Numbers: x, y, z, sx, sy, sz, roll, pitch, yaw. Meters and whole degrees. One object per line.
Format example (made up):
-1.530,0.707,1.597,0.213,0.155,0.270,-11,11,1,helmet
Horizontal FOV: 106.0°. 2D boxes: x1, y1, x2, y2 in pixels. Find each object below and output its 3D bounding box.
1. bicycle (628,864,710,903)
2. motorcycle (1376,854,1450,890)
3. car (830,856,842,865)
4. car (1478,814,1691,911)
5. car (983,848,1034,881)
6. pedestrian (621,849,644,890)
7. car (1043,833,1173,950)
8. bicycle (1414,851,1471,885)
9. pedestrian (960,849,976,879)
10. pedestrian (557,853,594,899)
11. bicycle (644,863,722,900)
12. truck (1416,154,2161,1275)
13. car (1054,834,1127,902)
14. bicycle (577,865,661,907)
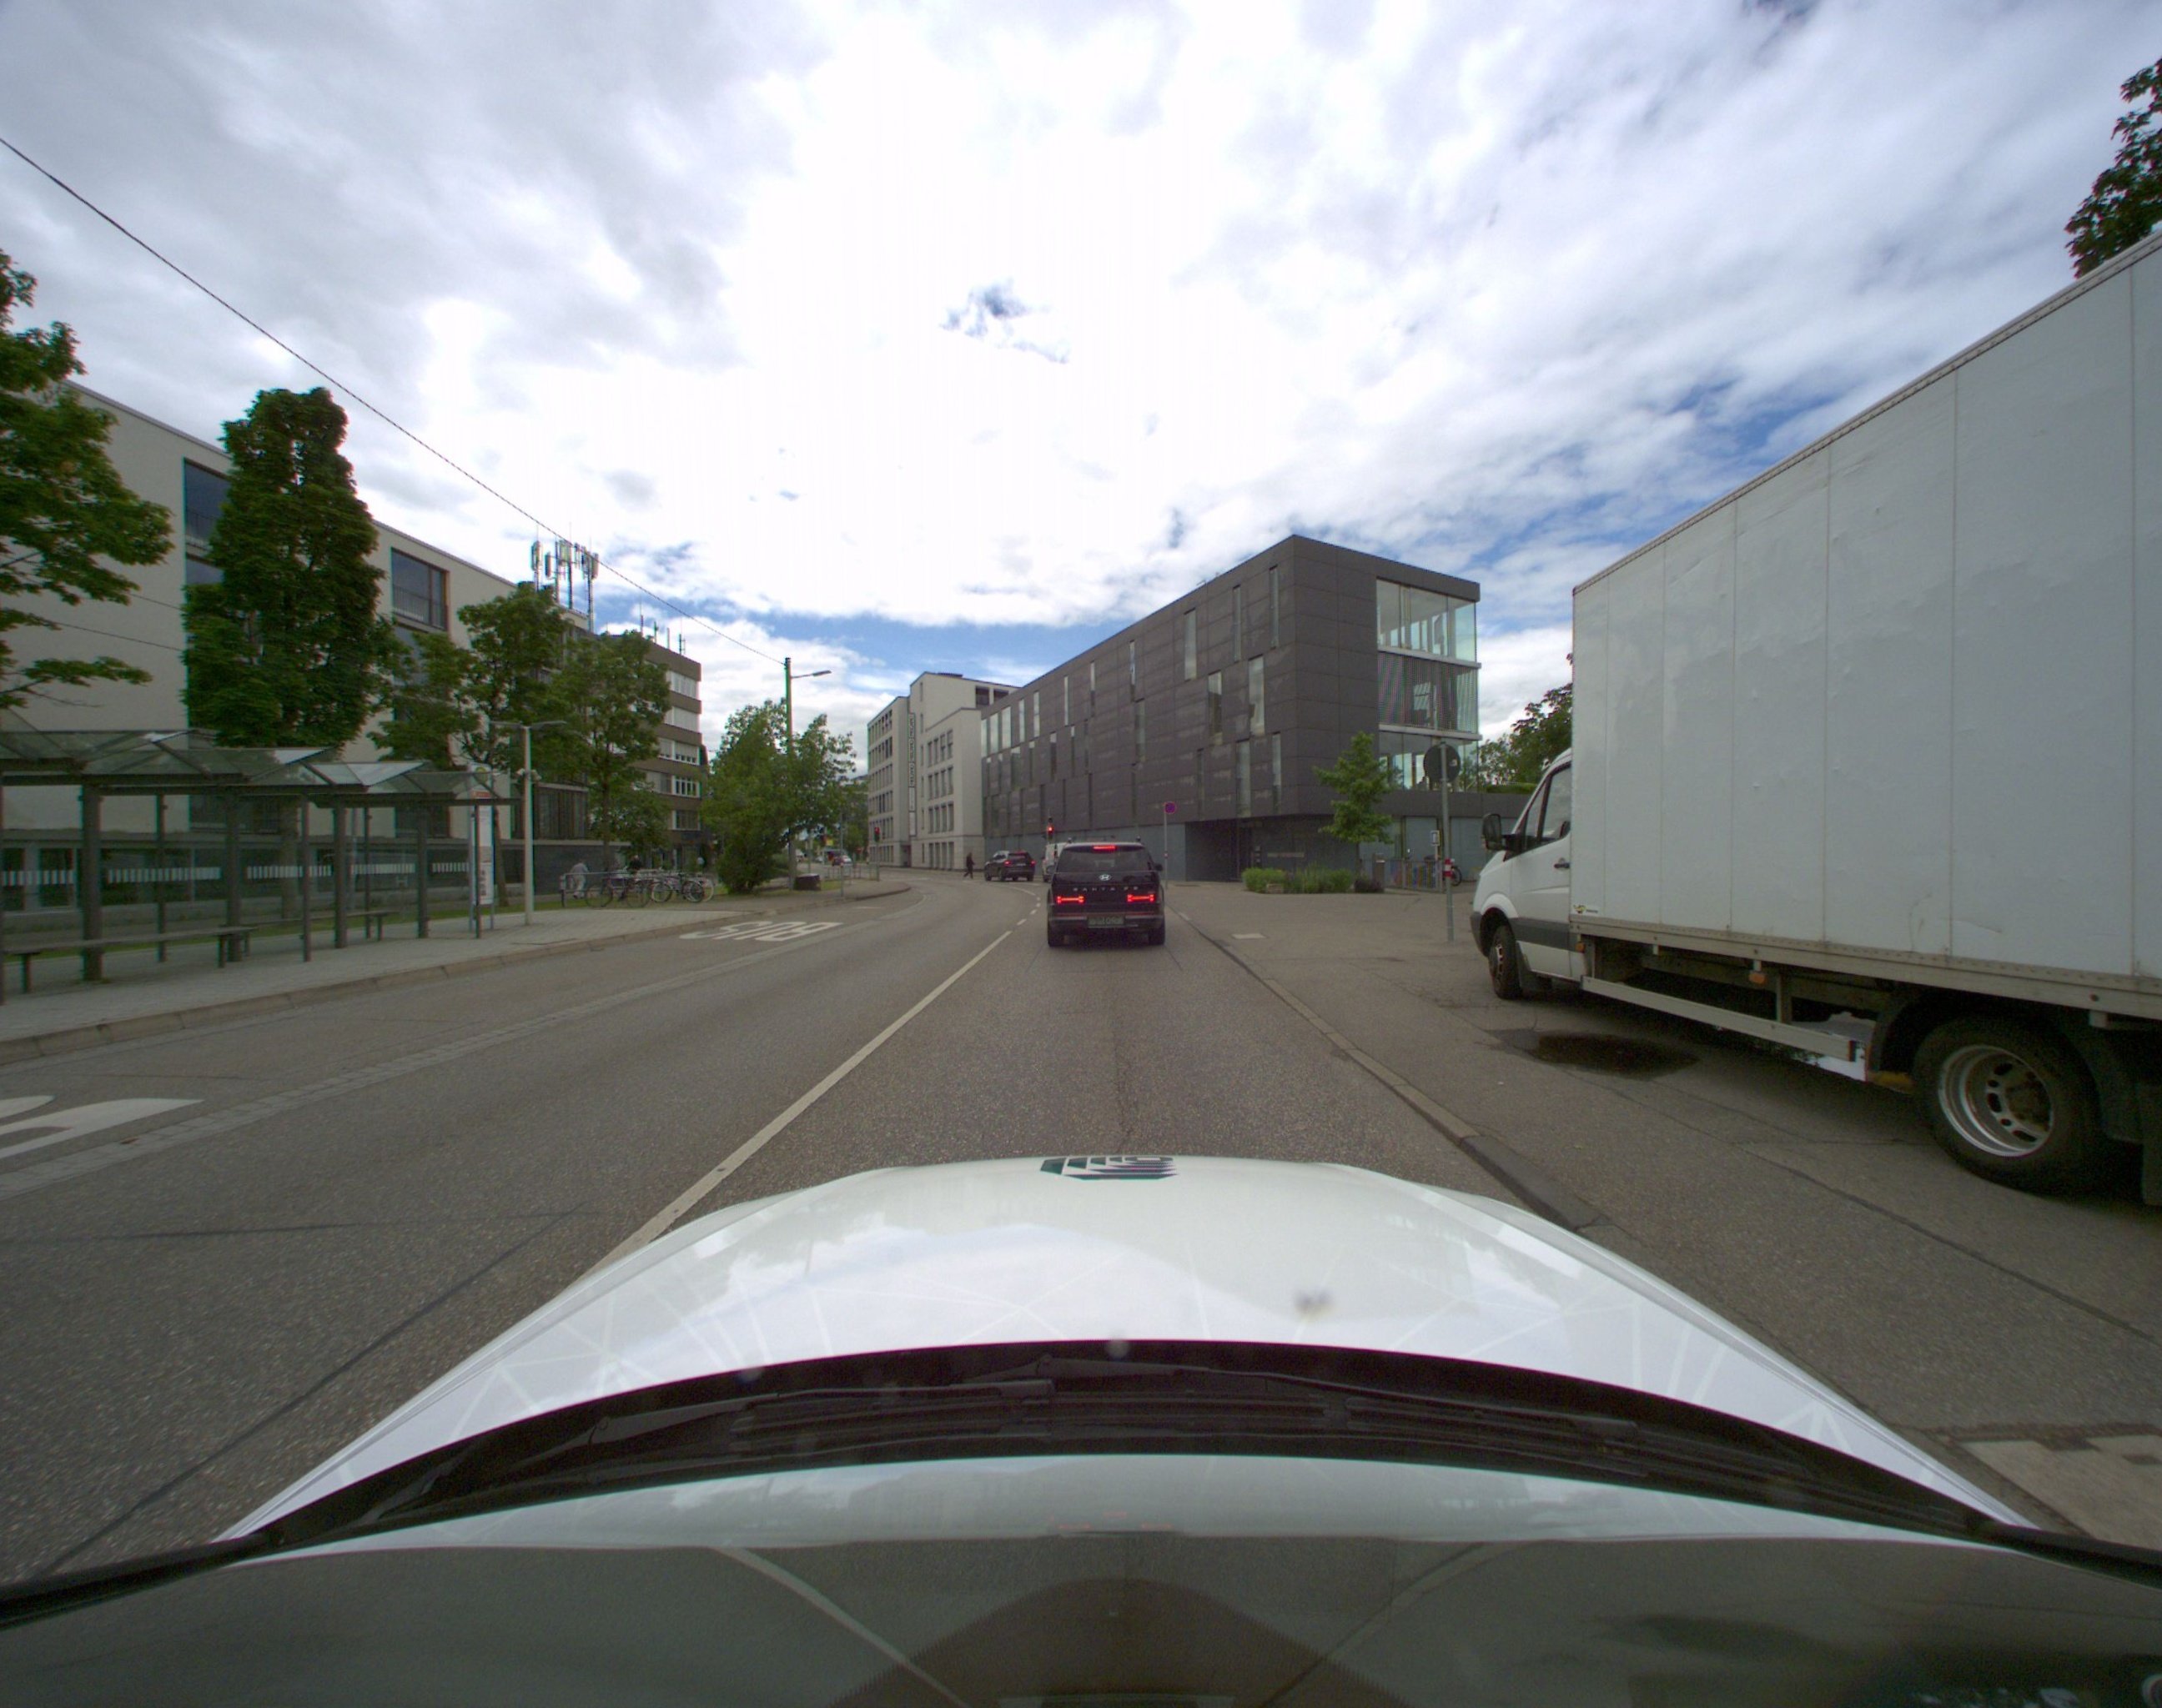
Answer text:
-12.137,0.864,23.993,2.091,1.106,0.632,0,0,2,bicycle
12.316,0.661,30.337,0.850,1.260,2.672,-1,0,-25,motorcycle
-41.437,1.142,137.922,1.904,1.486,3.977,-1,0,-17,car
11.070,0.197,18.369,1.987,1.838,4.518,-2,-1,1,car
-4.024,0.571,44.555,1.852,1.677,4.349,-2,0,-17,car
-22.581,0.778,41.019,0.768,2.014,0.885,2,-1,-18,pedestrian
0.353,0.556,14.196,1.910,1.725,4.168,1,0,-2,car
13.908,0.525,31.400,0.617,1.260,2.085,-1,0,-25,bicycle
-6.904,0.594,49.685,0.938,1.800,0.589,-1,0,-11,pedestrian
-20.063,0.855,32.361,0.827,1.765,0.907,2,-1,1,pedestrian
-12.089,0.836,24.767,2.090,1.106,0.632,0,0,2,bicycle
4.792,-0.458,4.931,2.563,3.525,7.815,-1,0,2,truck
0.221,0.396,27.067,1.853,2.033,4.427,-1,0,-6,car
-12.332,0.849,21.768,1.921,1.106,0.587,0,0,2,bicycle
